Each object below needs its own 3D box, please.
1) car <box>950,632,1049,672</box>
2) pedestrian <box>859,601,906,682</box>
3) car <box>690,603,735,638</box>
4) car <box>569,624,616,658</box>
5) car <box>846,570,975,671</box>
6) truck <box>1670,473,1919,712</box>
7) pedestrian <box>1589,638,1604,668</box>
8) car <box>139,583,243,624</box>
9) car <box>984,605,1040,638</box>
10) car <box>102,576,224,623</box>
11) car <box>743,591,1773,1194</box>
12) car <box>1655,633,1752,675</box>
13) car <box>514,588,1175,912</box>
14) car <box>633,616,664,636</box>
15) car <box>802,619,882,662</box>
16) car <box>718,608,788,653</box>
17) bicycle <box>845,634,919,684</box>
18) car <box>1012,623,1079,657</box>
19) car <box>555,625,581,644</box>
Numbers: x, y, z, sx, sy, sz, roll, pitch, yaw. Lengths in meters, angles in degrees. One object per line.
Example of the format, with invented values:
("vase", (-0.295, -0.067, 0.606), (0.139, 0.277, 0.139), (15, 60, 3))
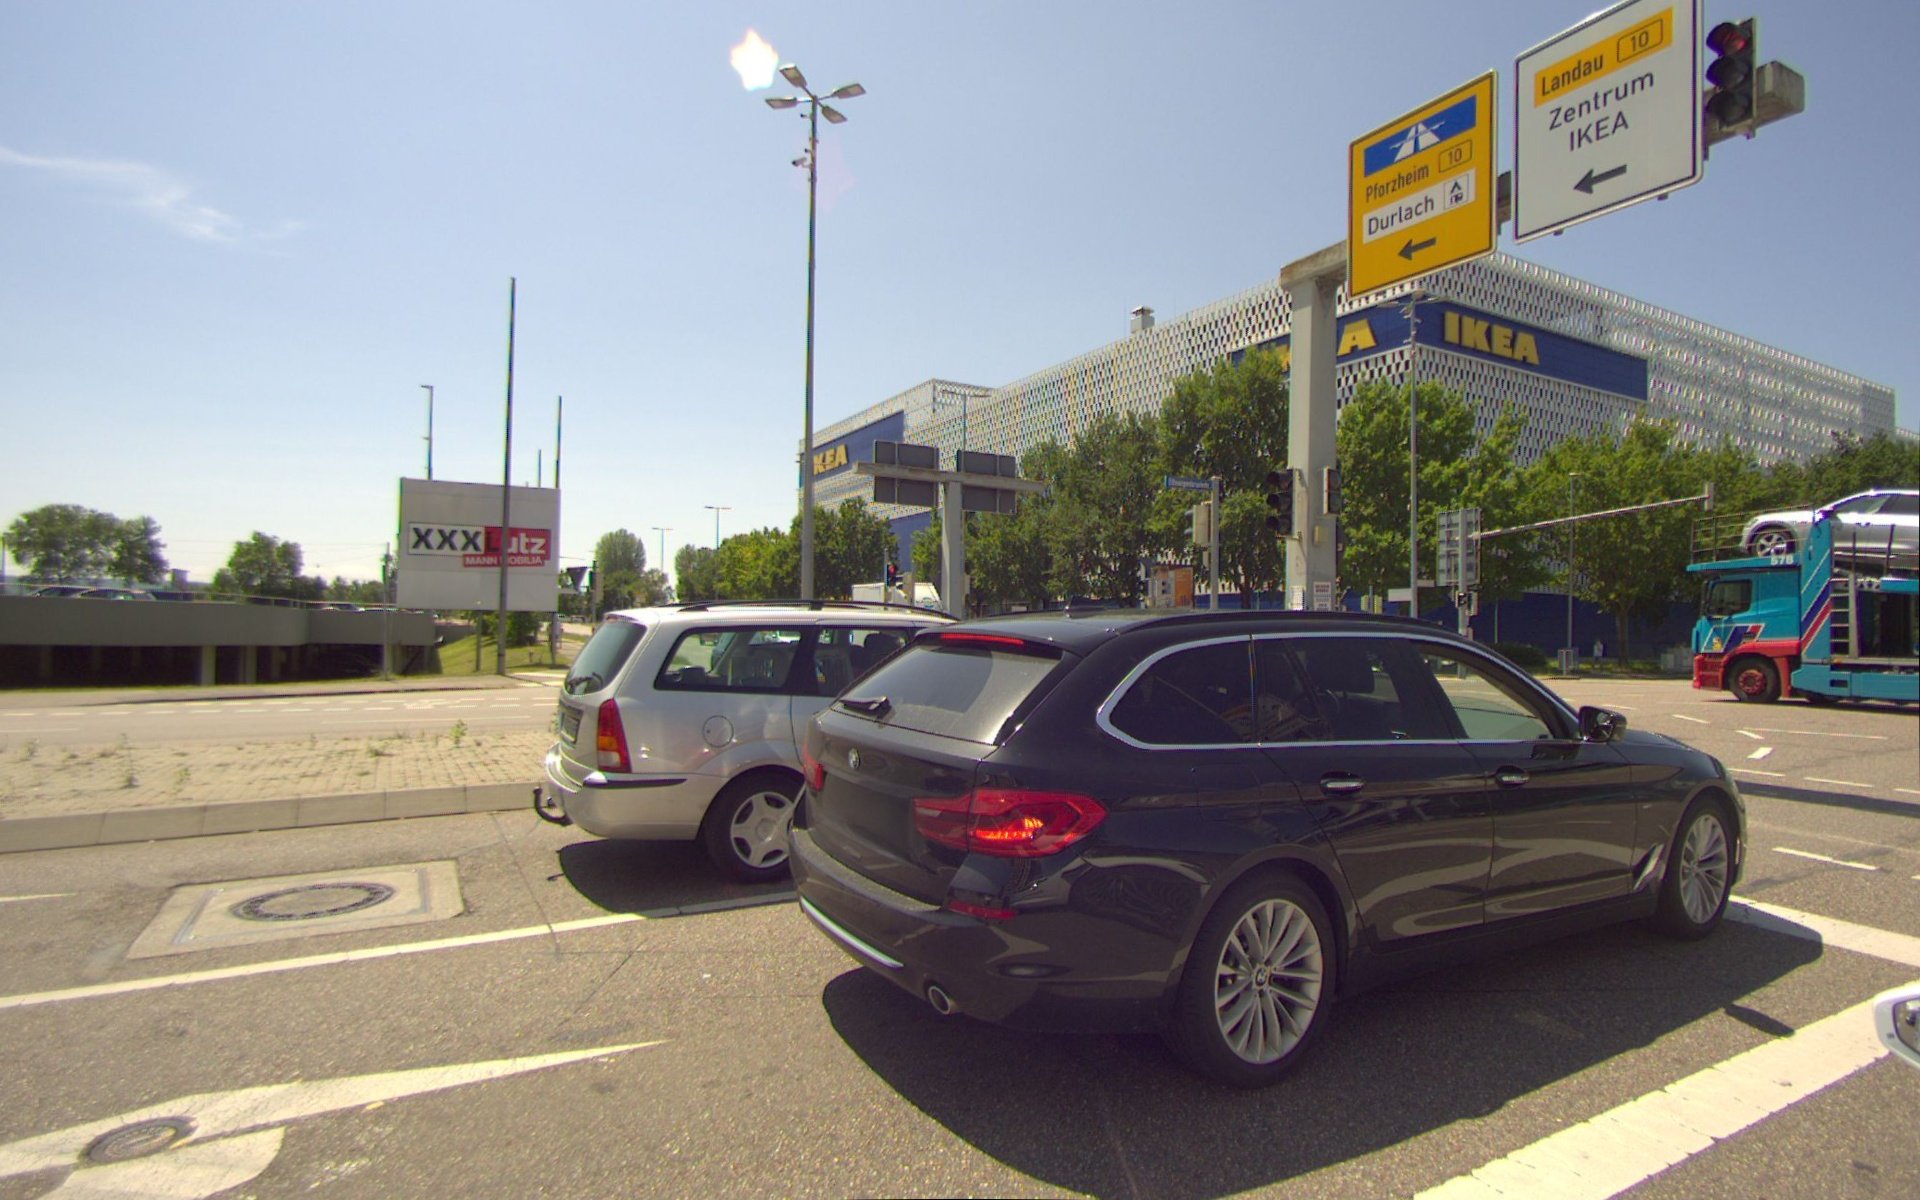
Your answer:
("car", (1.424, 1.919, 37.934), (1.756, 1.360, 4.262), (1, -2, -30))
("pedestrian", (-1.998, 1.071, 25.935), (0.856, 2.040, 0.898), (1, -2, -36))
("car", (-17.338, 1.470, 70.245), (1.973, 2.318, 5.847), (1, -2, -24))
("car", (-22.772, 2.519, 62.131), (1.816, 2.040, 3.962), (2, -2, -34))
("car", (-2.075, 0.780, 38.698), (2.156, 3.532, 6.874), (0, -1, -29))
("truck", (18.414, -0.109, 17.032), (3.054, 4.136, 10.604), (2, -1, -20))
("pedestrian", (32.437, 2.710, 51.164), (0.477, 1.502, 0.460), (2, -2, -26))
("car", (-39.011, 0.216, 51.087), (3.957, 1.933, 1.982), (2, -2, -33))
("car", (3.322, 1.385, 65.218), (1.973, 2.040, 3.974), (1, -1, -26))
("car", (-35.477, 0.035, 44.840), (3.954, 1.957, 1.984), (2, -2, -31))
("car", (1.544, 0.765, 4.449), (4.571, 1.485, 1.790), (1, -1, -32))
("car", (37.772, 2.740, 51.031), (4.700, 2.034, 1.988), (2, -2, -25))
("car", (-0.607, 0.751, 6.598), (3.962, 1.514, 1.785), (2, -1, -36))
("car", (-29.715, 2.480, 95.836), (1.975, 1.930, 4.777), (1, -1, -28))
("car", (-5.476, 1.836, 45.922), (1.973, 1.835, 5.437), (1, -2, -26))
("car", (-12.695, 1.852, 61.155), (2.542, 2.568, 6.586), (2, -2, -26))
("bicycle", (-2.049, 1.497, 26.020), (0.987, 1.229, 2.079), (1, -2, -35))
("car", (4.369, 2.053, 52.070), (1.691, 1.673, 4.185), (1, -1, -23))
("car", (-35.422, 3.118, 90.715), (1.718, 1.708, 3.641), (1, -2, -28))
